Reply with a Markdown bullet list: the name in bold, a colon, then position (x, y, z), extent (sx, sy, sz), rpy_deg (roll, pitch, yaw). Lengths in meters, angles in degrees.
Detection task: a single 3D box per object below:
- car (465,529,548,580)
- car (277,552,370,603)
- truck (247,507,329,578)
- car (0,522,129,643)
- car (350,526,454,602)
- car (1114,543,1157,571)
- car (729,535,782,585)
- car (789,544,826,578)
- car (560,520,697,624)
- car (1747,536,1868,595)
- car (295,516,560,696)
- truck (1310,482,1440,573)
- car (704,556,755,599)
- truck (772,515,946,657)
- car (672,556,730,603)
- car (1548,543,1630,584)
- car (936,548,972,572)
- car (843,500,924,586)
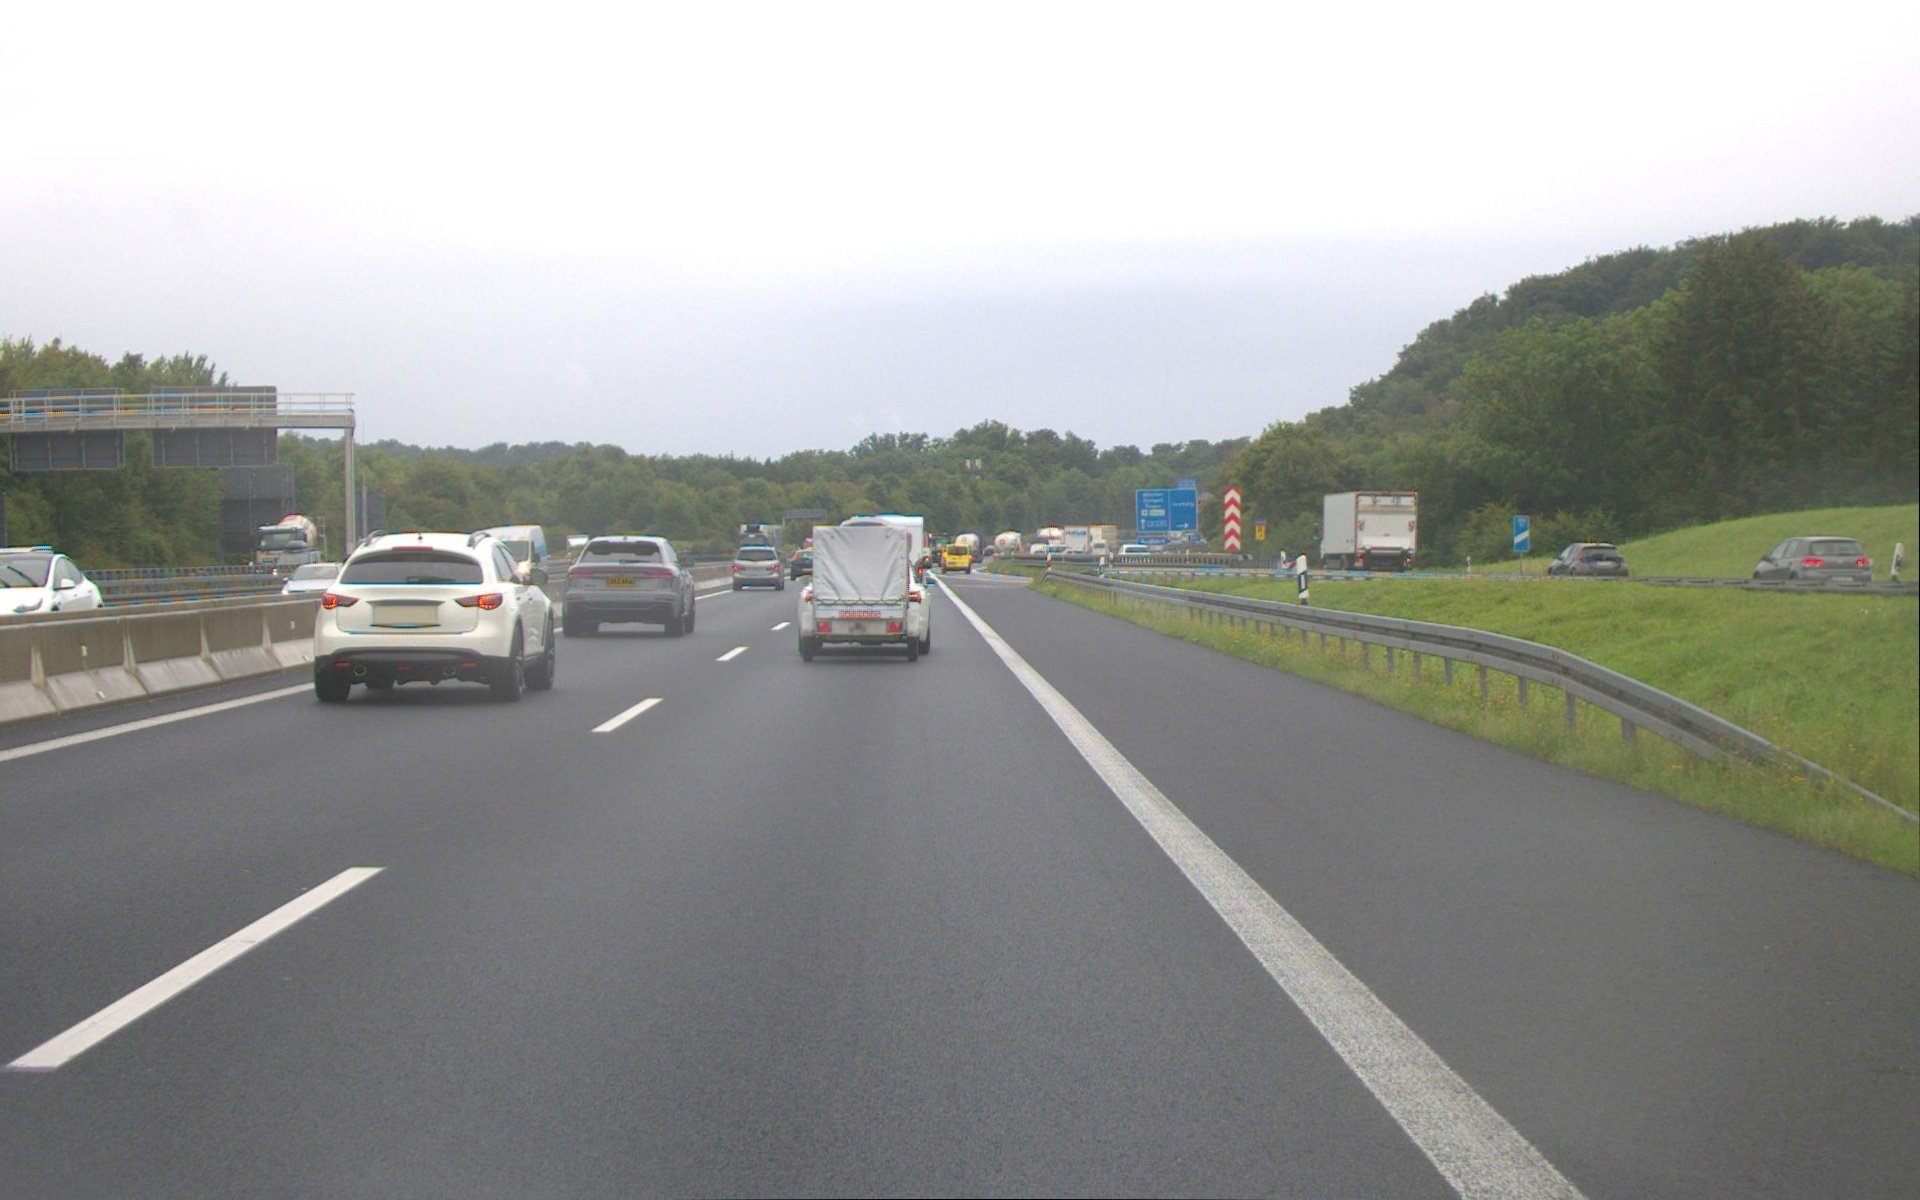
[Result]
- **car**: position (-15.747, -1.592, 119.625), extent (2.357, 1.687, 5.907), rpy_deg (-1, 1, -3)
- **car**: position (-18.995, -0.677, 102.766), extent (1.993, 1.430, 4.680), rpy_deg (1, 1, -1)
- **truck**: position (-35.552, -3.047, 182.184), extent (2.685, 3.648, 9.559), rpy_deg (-1, 1, -2)
- **car**: position (-14.354, -0.286, 52.539), extent (2.156, 1.759, 4.961), rpy_deg (0, 1, -1)
- **car**: position (-14.042, -0.931, 86.757), extent (1.993, 1.830, 4.680), rpy_deg (1, 1, -2)
- **car**: position (10.069, -2.486, 197.357), extent (1.993, 1.546, 4.001), rpy_deg (1, 1, -3)
- **car**: position (-7.410, -1.455, 124.593), extent (1.738, 1.787, 4.000), rpy_deg (1, 1, -1)
- **car**: position (-7.338, -1.890, 165.800), extent (1.645, 1.568, 4.000), rpy_deg (1, 1, 0)
- **car**: position (-5.689, -0.503, 59.491), extent (1.975, 1.697, 4.803), rpy_deg (1, 1, -1)
- **car**: position (19.377, -0.788, 78.713), extent (1.539, 1.284, 3.536), rpy_deg (1, 0, -7)
- **car**: position (-5.242, 0.021, 34.433), extent (2.048, 1.665, 4.541), rpy_deg (1, 1, -1)
- **truck**: position (17.392, -3.004, 144.789), extent (3.824, 3.646, 8.273), rpy_deg (1, 1, -4)
- **car**: position (-9.276, -0.923, 138.692), extent (1.819, 1.656, 4.017), rpy_deg (0, 1, 0)
- **truck**: position (-1.405, -0.237, 47.753), extent (2.242, 1.833, 6.585), rpy_deg (0, 1, -2)
- **car**: position (-9.429, -0.759, 125.429), extent (1.819, 1.656, 4.017), rpy_deg (0, 1, 0)
- **car**: position (20.547, -1.198, 112.426), extent (1.696, 1.284, 3.536), rpy_deg (1, 0, -5)
- **car**: position (-0.395, -2.721, 232.111), extent (1.993, 1.546, 4.001), rpy_deg (1, 1, -6)
- **car**: position (-2.532, -1.826, 111.806), extent (2.331, 2.716, 6.541), rpy_deg (0, 1, -4)
